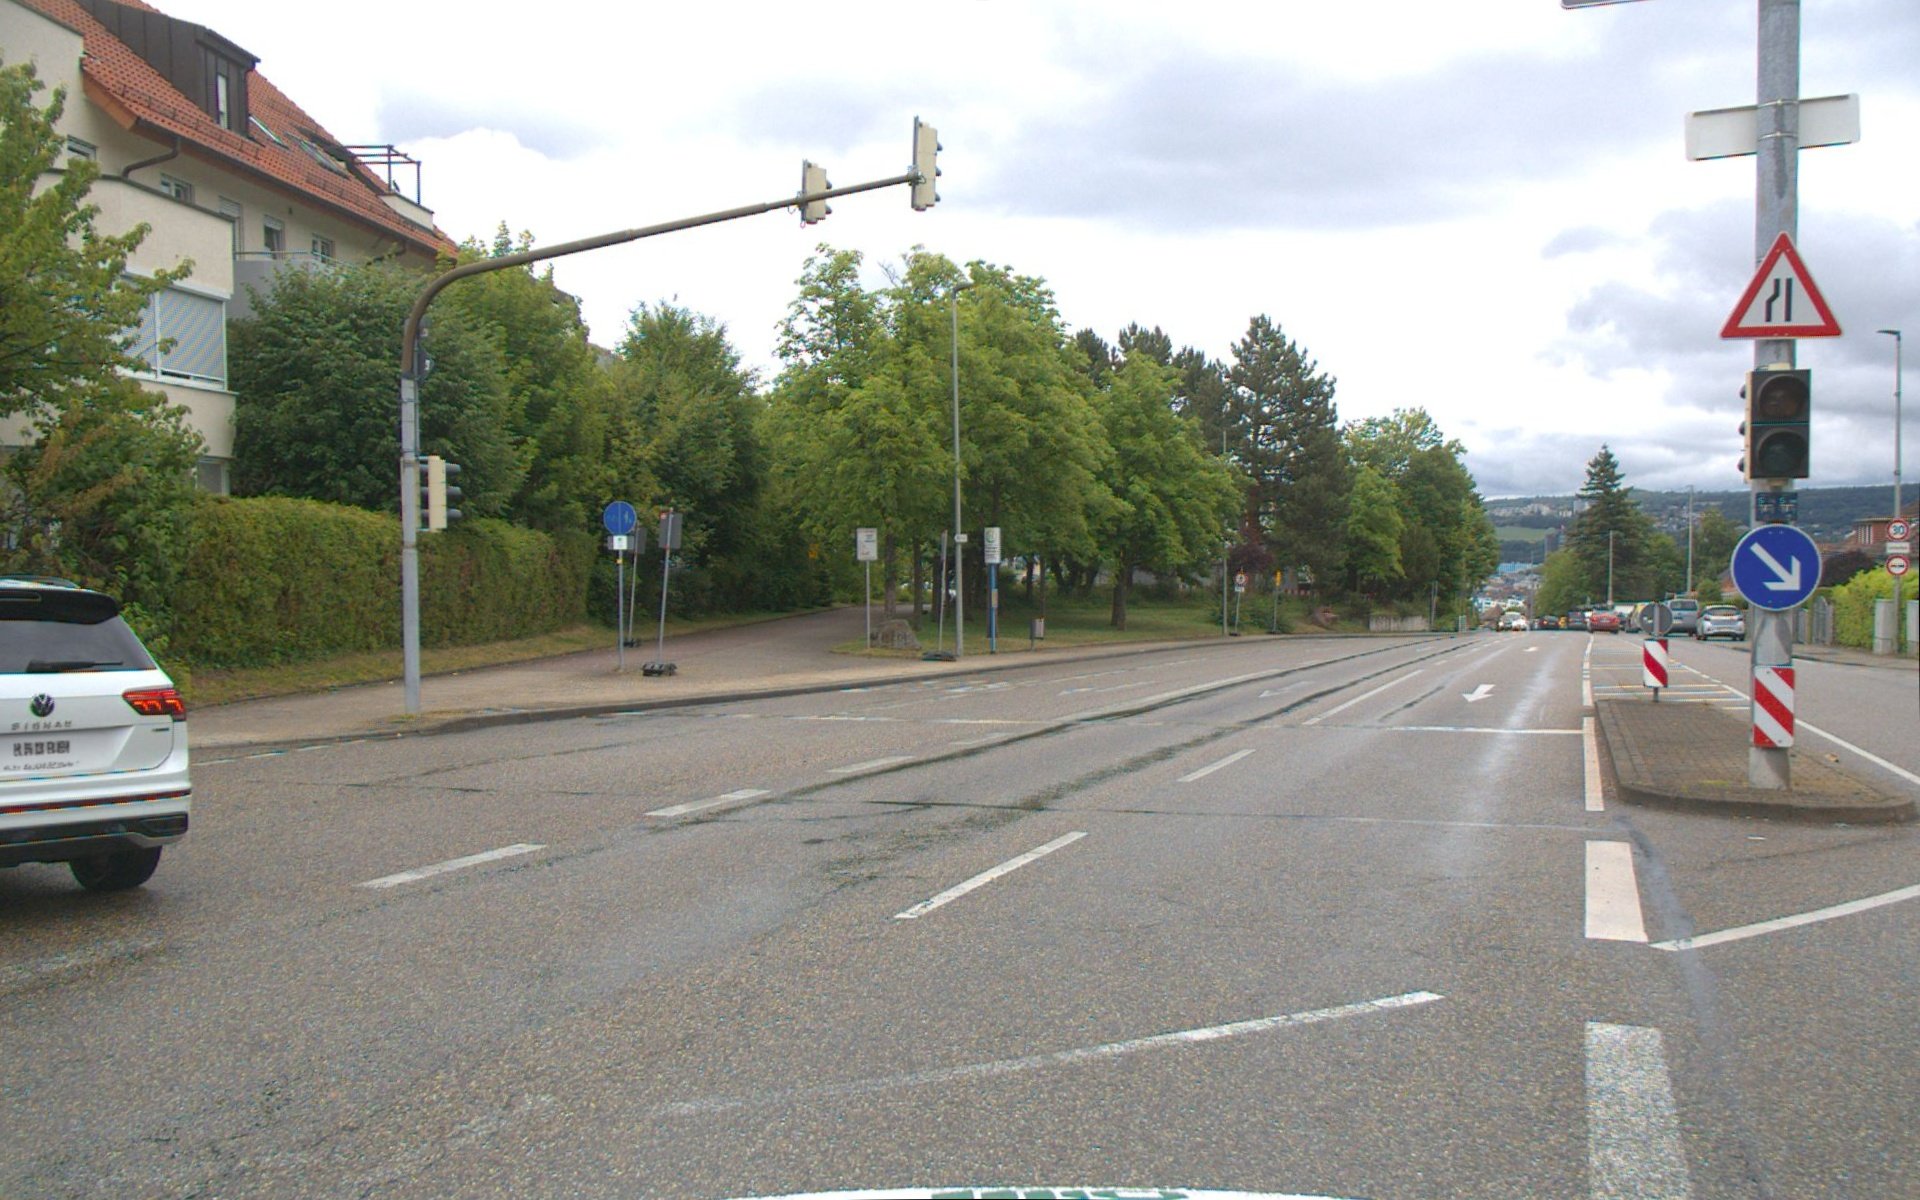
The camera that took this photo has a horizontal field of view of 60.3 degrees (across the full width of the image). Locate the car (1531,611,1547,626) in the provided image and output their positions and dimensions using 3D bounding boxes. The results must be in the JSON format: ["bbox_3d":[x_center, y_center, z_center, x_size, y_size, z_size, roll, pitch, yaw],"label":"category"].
[{"bbox_3d":[72.830,2.328,208.093,1.952,1.680,4.001,0,1,19],"label":"car"}]

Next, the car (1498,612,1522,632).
[{"bbox_3d":[50.528,1.996,151.903,1.807,1.747,4.000,1,1,22],"label":"car"}]

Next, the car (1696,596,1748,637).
[{"bbox_3d":[33.075,0.694,71.874,1.813,1.601,4.000,2,1,22],"label":"car"}]

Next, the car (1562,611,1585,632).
[{"bbox_3d":[54.097,1.885,145.816,1.760,1.814,4.000,1,1,21],"label":"car"}]

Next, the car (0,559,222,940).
[{"bbox_3d":[-5.886,0.694,8.947,4.191,1.725,1.760,-1,0,39],"label":"car"}]

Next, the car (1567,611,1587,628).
[{"bbox_3d":[60.601,1.890,162.394,1.703,1.602,4.000,0,1,22],"label":"car"}]

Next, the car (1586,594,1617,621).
[{"bbox_3d":[40.043,0.460,103.212,1.719,1.602,4.000,0,1,22],"label":"car"}]

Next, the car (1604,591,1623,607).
[{"bbox_3d":[65.931,-0.087,166.890,1.813,1.602,4.000,0,1,22],"label":"car"}]

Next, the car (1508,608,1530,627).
[{"bbox_3d":[54.451,1.706,161.037,1.807,1.747,4.000,1,1,22],"label":"car"}]

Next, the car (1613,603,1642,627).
[{"bbox_3d":[45.848,1.006,113.574,1.813,1.602,4.000,0,1,22],"label":"car"}]

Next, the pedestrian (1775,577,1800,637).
[{"bbox_3d":[28.023,0.228,56.042,0.642,2.037,0.718,0,0,18],"label":"pedestrian"}]

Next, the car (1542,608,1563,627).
[{"bbox_3d":[59.359,1.752,165.747,1.848,1.825,4.000,1,1,22],"label":"car"}]

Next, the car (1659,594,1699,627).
[{"bbox_3d":[38.920,0.534,89.584,1.813,1.601,4.001,1,2,22],"label":"car"}]

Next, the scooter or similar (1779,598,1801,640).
[{"bbox_3d":[28.148,0.637,56.115,0.451,1.385,1.385,0,1,18],"label":"scooter or similar"}]
